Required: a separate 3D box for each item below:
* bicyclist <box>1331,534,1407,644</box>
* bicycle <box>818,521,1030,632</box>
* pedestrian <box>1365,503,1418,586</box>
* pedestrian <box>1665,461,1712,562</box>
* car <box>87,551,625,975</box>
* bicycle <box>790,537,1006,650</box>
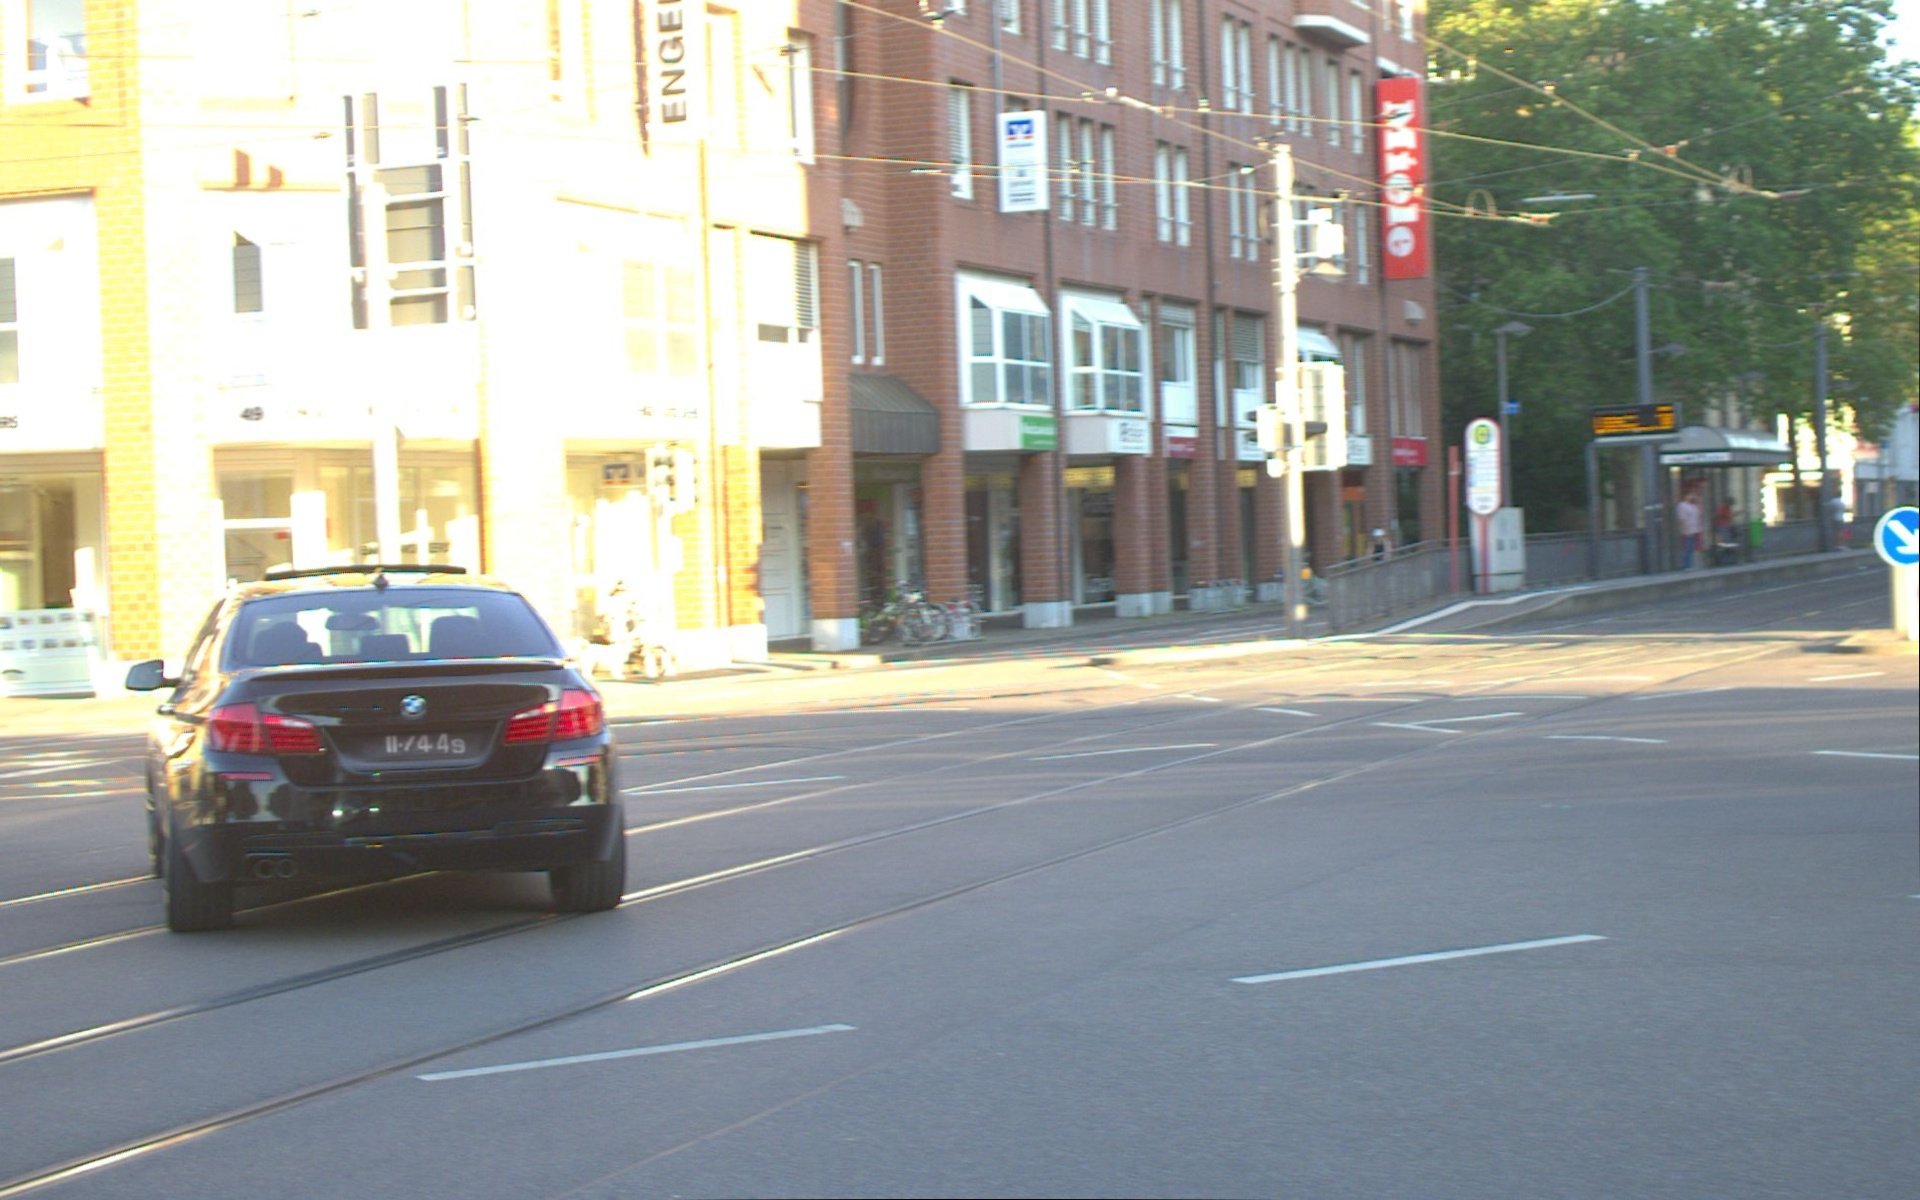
[{"bbox_3d":[9.452,-0.259,79.401,1.291,2.460,1.667,-2,1,20],"label":"bicyclist"},{"bbox_3d":[-0.603,-0.390,57.211,3.300,1.720,1.068,-2,1,20],"label":"bicycle"},{"bbox_3d":[10.689,-1.386,85.132,1.085,2.007,1.084,-2,1,16],"label":"pedestrian"},{"bbox_3d":[14.676,-1.783,69.267,0.809,2.007,0.677,-2,1,18],"label":"pedestrian"},{"bbox_3d":[-2.848,0.590,15.410,1.840,1.490,4.293,-4,2,-16],"label":"car"},{"bbox_3d":[-1.016,-0.100,56.127,3.300,1.720,1.068,-2,1,21],"label":"bicycle"}]
